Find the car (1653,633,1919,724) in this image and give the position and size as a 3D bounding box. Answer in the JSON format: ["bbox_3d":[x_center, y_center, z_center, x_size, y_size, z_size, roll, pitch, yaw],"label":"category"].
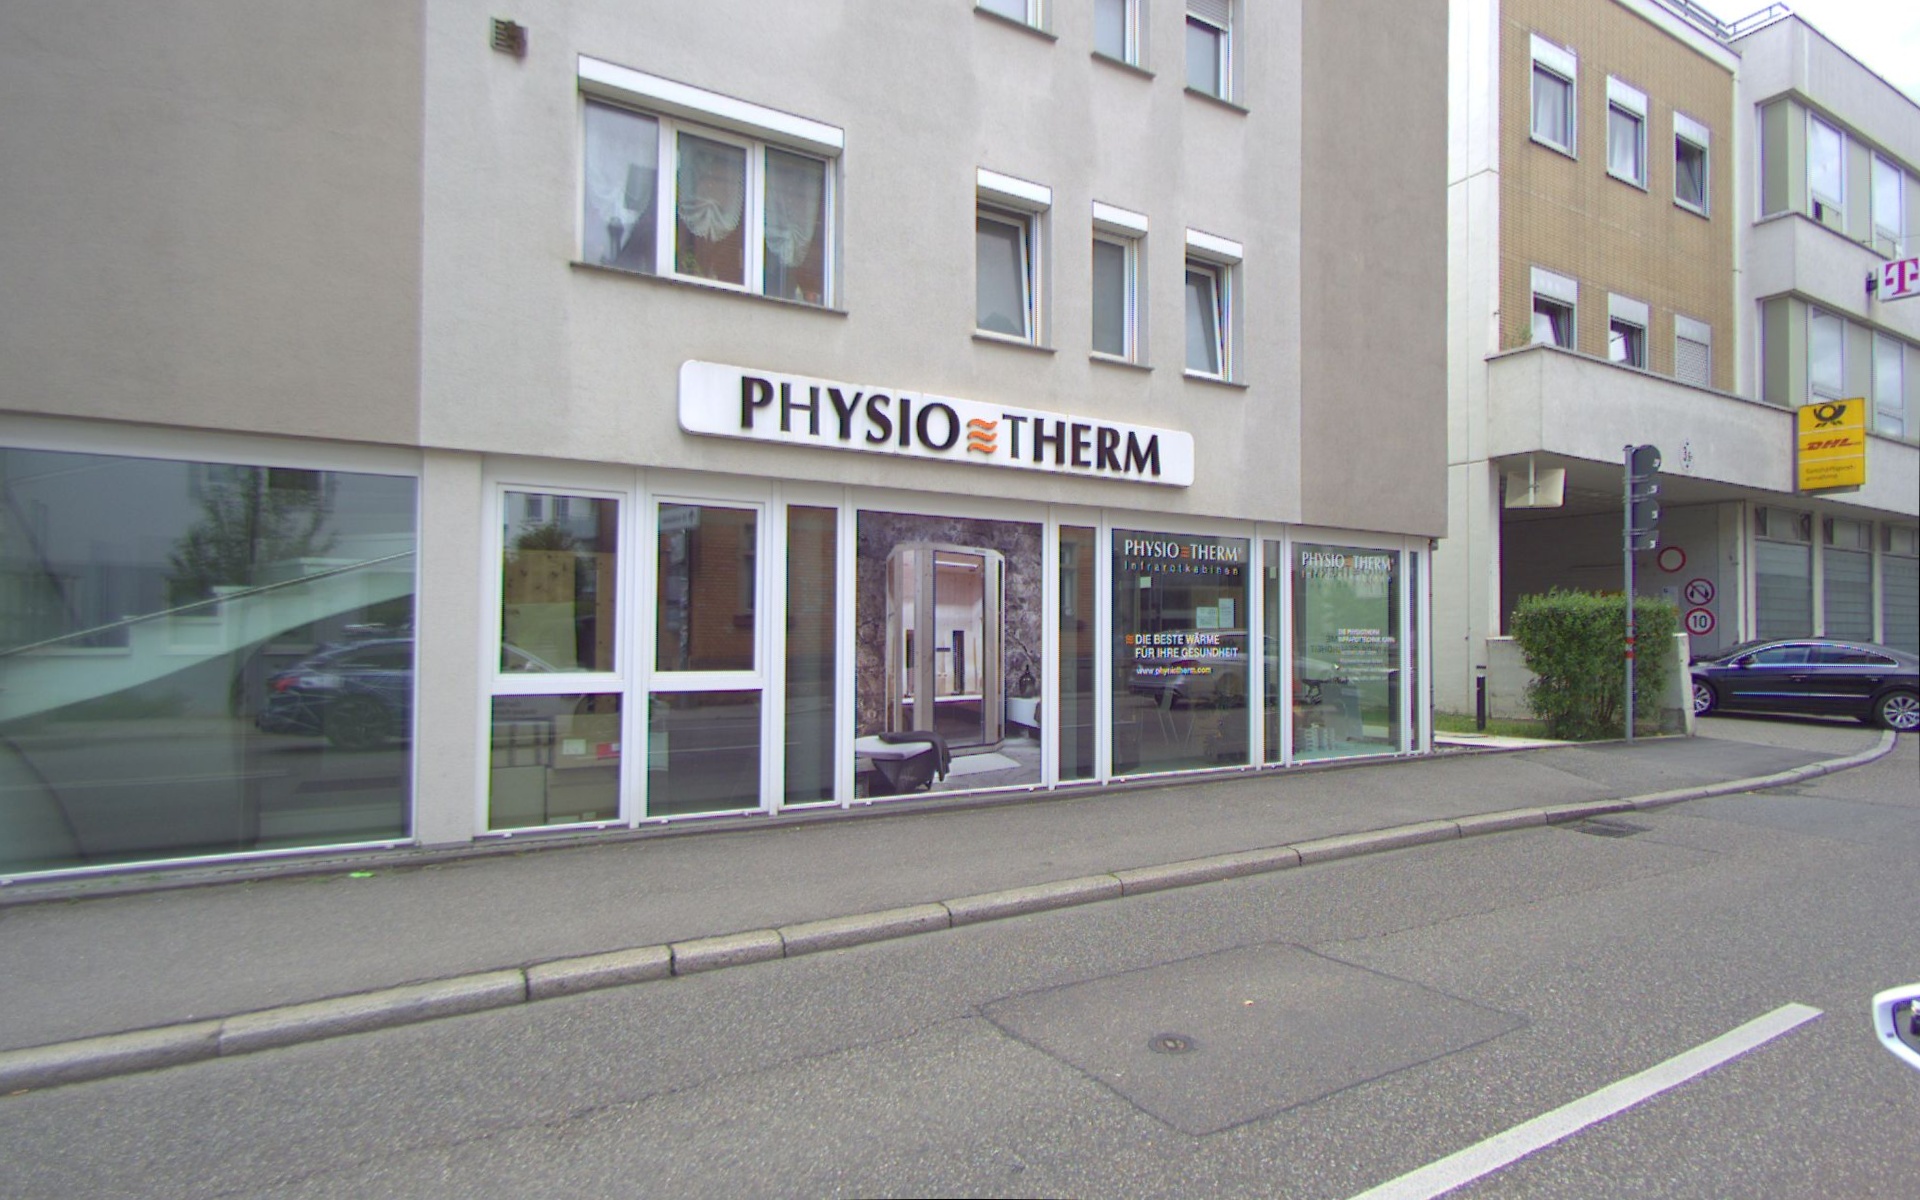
[{"bbox_3d":[14.314,1.257,16.812,4.335,1.384,1.782,-1,-1,31],"label":"car"}]
